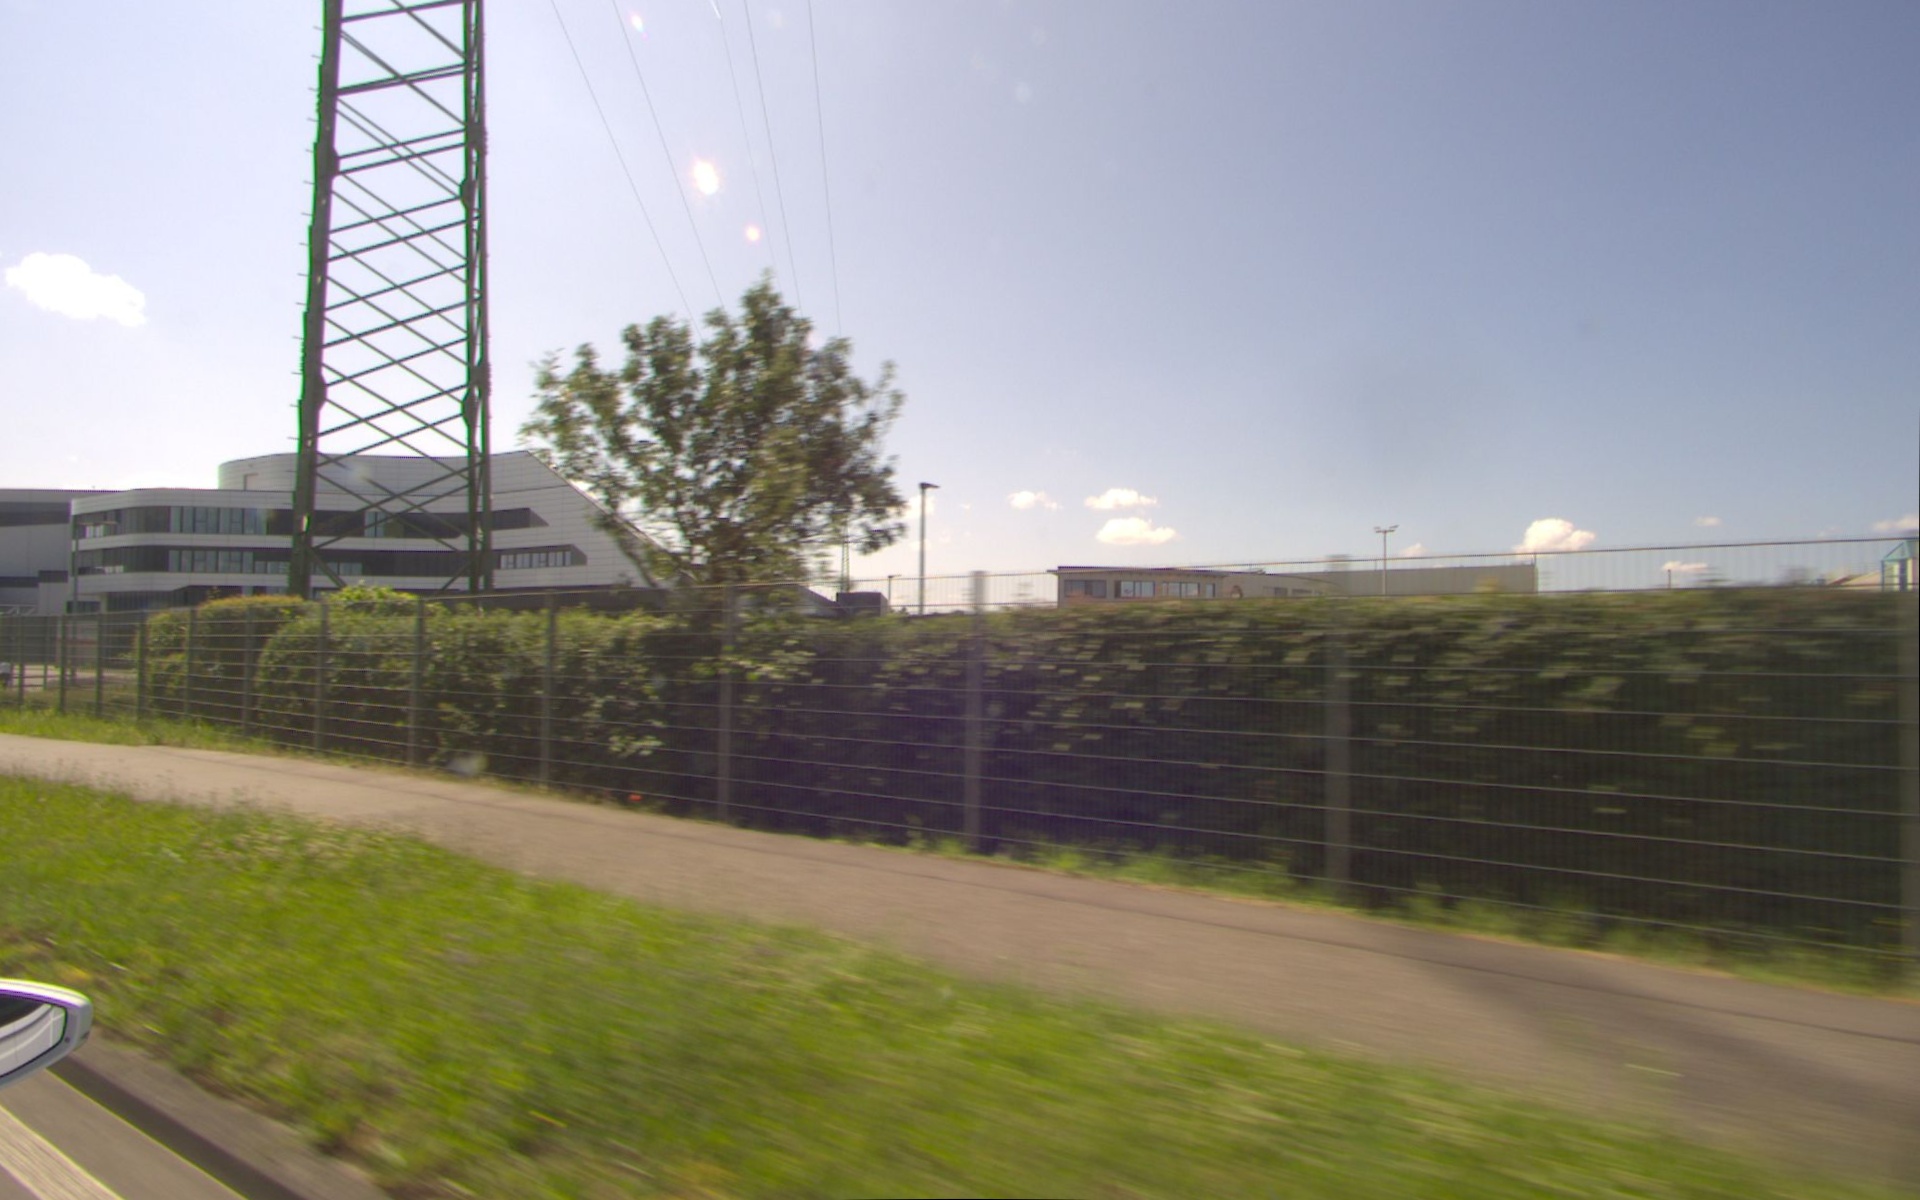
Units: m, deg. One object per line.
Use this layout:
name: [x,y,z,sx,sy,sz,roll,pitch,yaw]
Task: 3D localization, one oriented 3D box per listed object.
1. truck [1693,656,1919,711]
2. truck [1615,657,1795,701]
truck: [52.406,5.085,61.552,11.685,2.998,1.991,-1,-4,33]
truck: [60.857,6.439,82.313,11.685,3.175,1.991,-1,-4,33]
